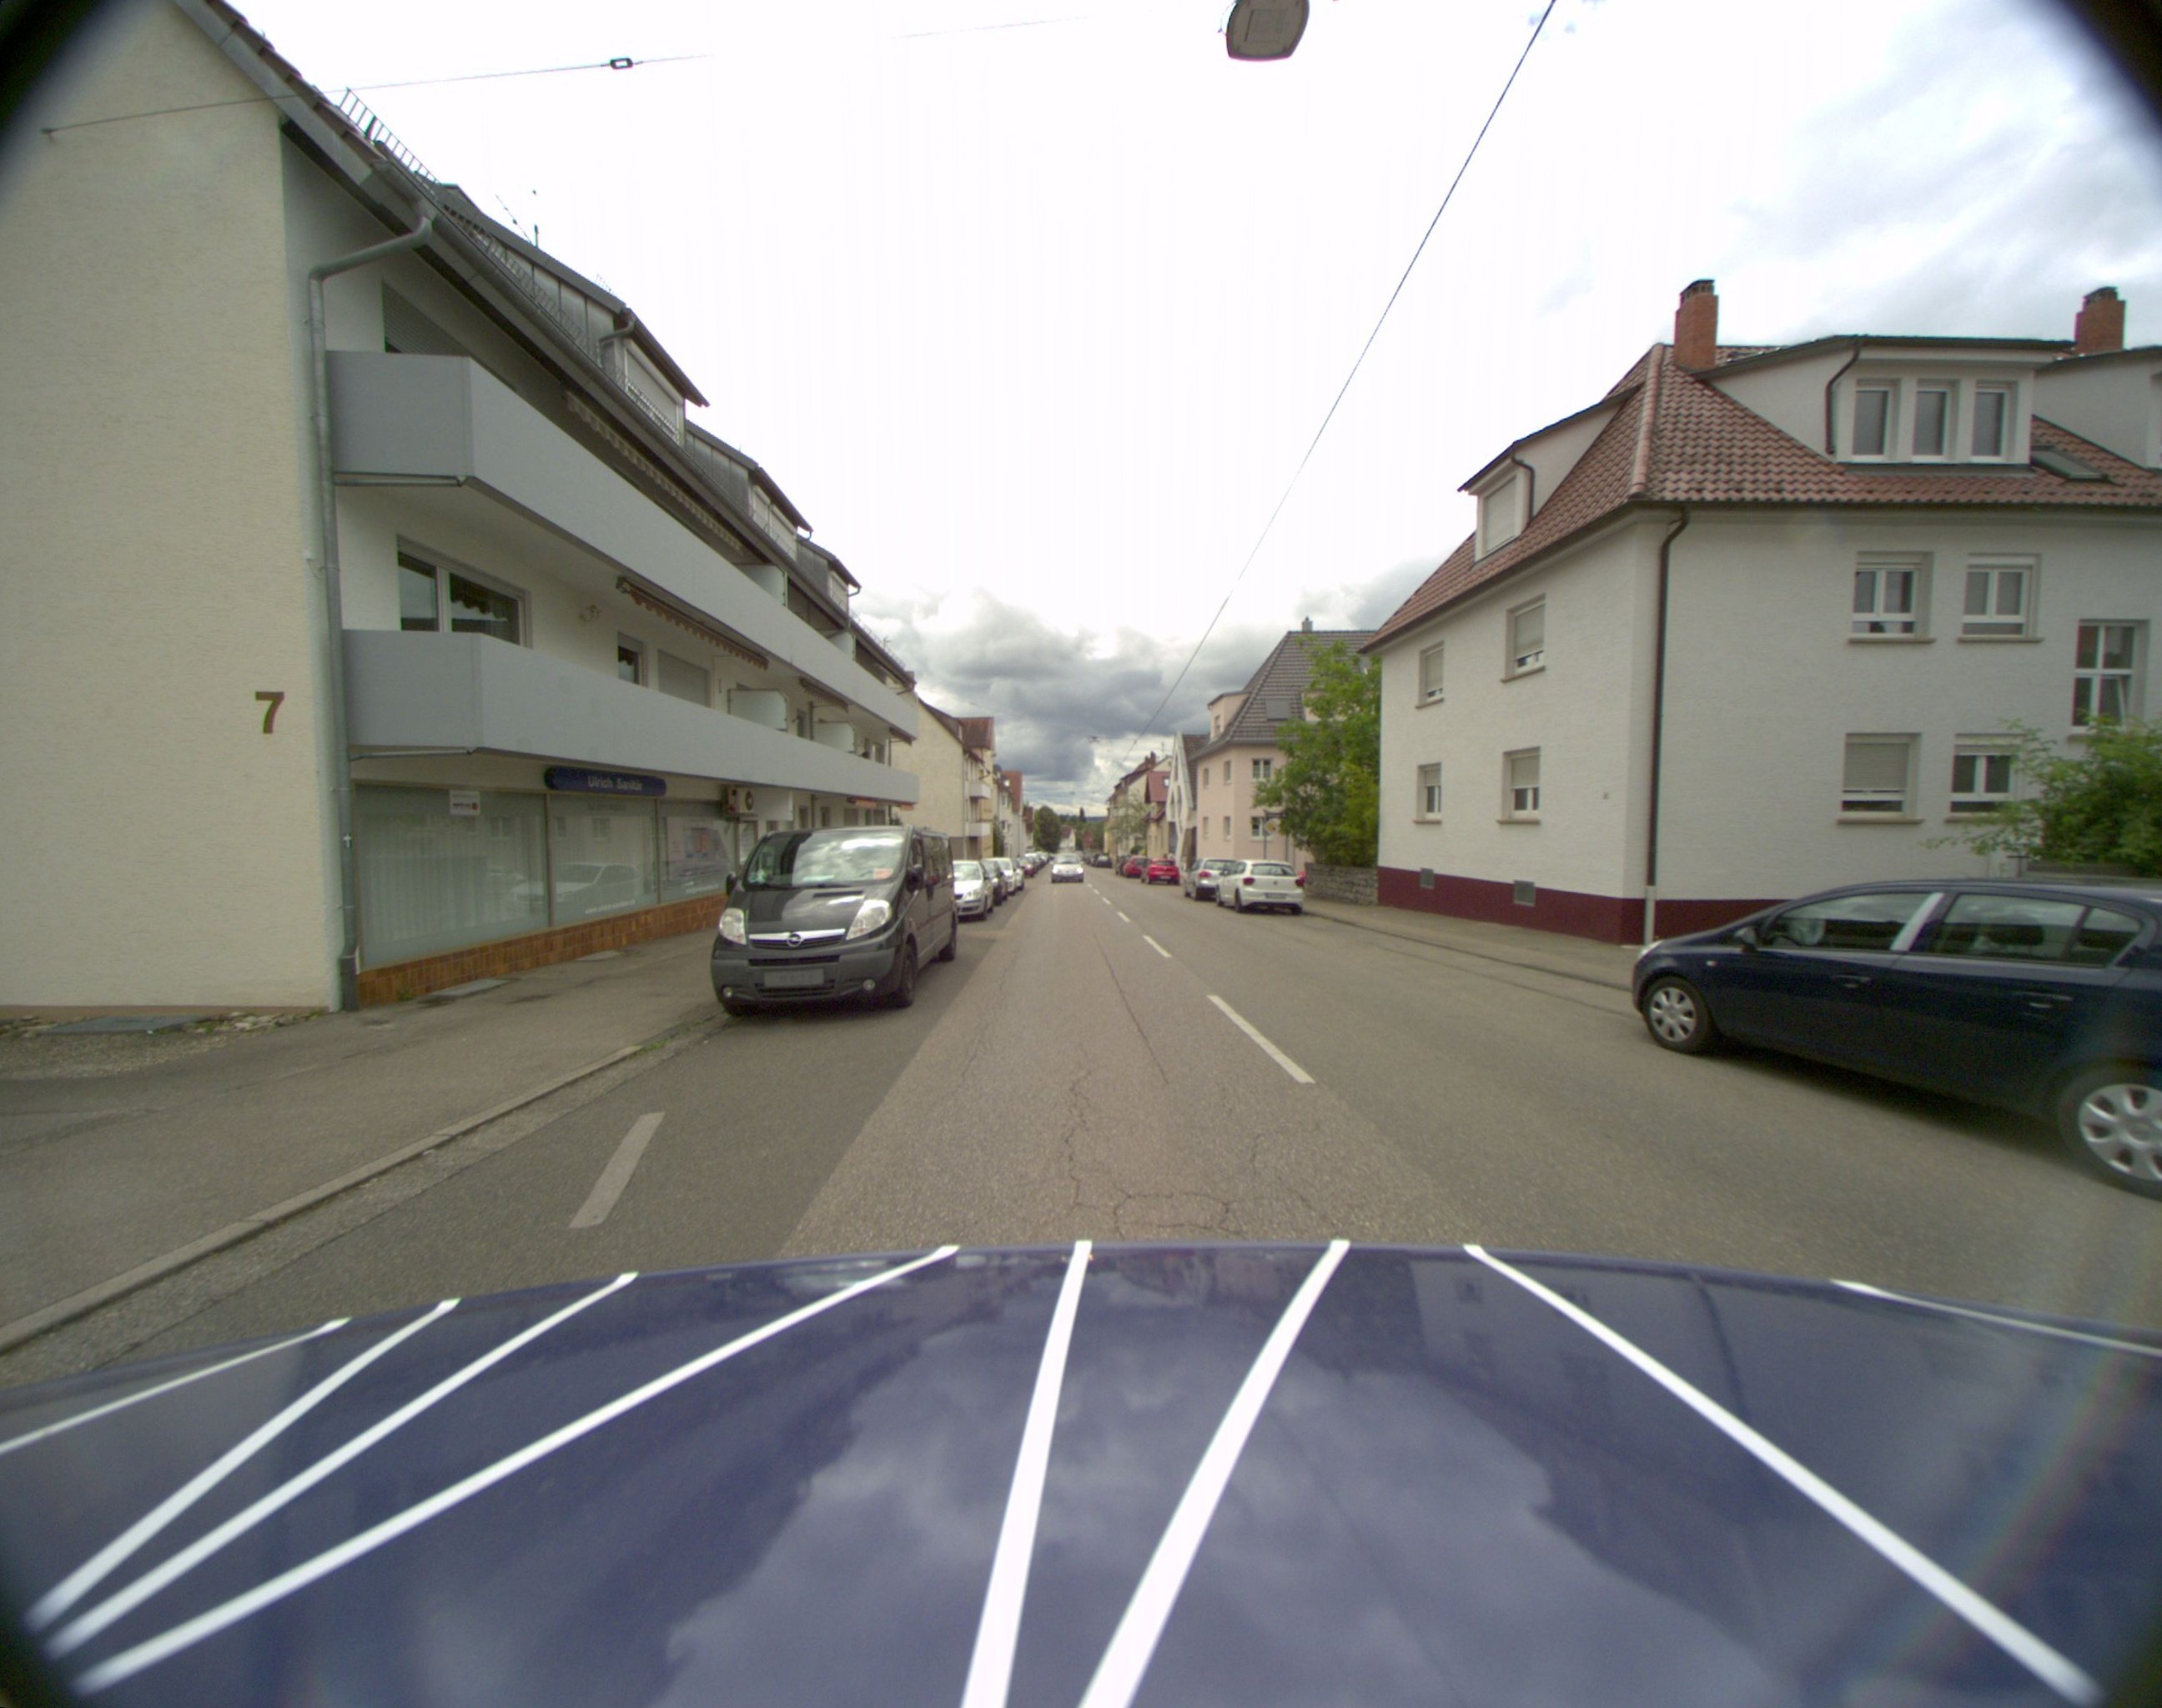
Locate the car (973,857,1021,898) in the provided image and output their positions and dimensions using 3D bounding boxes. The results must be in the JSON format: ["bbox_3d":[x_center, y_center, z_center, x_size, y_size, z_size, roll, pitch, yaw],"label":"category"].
[{"bbox_3d":[-3.270,0.886,30.129,1.613,1.447,3.312,-2,1,-2],"label":"car"}]

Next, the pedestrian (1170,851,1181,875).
[{"bbox_3d":[6.188,0.589,50.027,0.583,1.524,0.600,-2,1,-1],"label":"pedestrian"}]

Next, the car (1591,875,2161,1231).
[{"bbox_3d":[5.573,0.944,4.766,1.843,1.437,3.998,2,0,-4],"label":"car"}]

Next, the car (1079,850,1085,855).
[{"bbox_3d":[0.279,-0.455,234.429,1.705,1.706,3.737,3,1,4],"label":"car"}]

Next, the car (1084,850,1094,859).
[{"bbox_3d":[1.431,0.042,137.244,1.706,1.524,3.734,2,1,-2],"label":"car"}]

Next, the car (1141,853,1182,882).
[{"bbox_3d":[4.420,0.722,42.160,1.706,1.402,3.734,2,1,-2],"label":"car"}]

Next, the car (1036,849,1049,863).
[{"bbox_3d":[-4.989,0.214,99.767,1.613,1.789,3.858,-2,1,-2],"label":"car"}]

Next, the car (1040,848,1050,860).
[{"bbox_3d":[-5.731,0.004,121.269,1.613,1.789,3.858,-2,1,-2],"label":"car"}]

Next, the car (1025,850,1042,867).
[{"bbox_3d":[-4.831,0.475,77.394,1.613,1.633,3.858,-2,1,-2],"label":"car"}]

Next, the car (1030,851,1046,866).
[{"bbox_3d":[-4.888,0.464,86.960,1.613,1.633,3.858,-2,1,-2],"label":"car"}]

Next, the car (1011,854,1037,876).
[{"bbox_3d":[-3.985,0.752,53.753,1.613,1.447,3.858,-2,1,-2],"label":"car"}]

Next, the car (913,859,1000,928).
[{"bbox_3d":[-3.066,0.922,19.494,1.613,1.447,4.333,-2,1,-2],"label":"car"}]

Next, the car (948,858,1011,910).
[{"bbox_3d":[-3.215,0.911,24.690,1.613,1.447,3.858,-2,1,-2],"label":"car"}]

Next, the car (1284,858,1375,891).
[{"bbox_3d":[11.579,0.944,35.595,3.732,1.402,1.707,-1,1,3],"label":"car"}]

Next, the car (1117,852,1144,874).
[{"bbox_3d":[3.790,0.678,58.514,1.706,1.524,3.734,2,1,-2],"label":"car"}]

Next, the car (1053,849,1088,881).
[{"bbox_3d":[-0.549,0.554,41.873,1.721,1.587,4.000,-2,1,1],"label":"car"}]

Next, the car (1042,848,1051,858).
[{"bbox_3d":[-6.526,-0.223,144.568,1.613,1.789,3.858,-2,1,-2],"label":"car"}]

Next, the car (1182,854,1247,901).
[{"bbox_3d":[4.565,0.767,26.435,1.653,1.438,3.774,1,1,1],"label":"car"}]

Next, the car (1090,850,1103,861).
[{"bbox_3d":[2.308,0.256,116.215,1.706,1.524,3.734,2,1,-2],"label":"car"}]

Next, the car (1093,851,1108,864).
[{"bbox_3d":[2.470,0.451,96.376,1.706,1.524,3.734,2,1,-2],"label":"car"}]

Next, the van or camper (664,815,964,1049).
[{"bbox_3d":[-2.782,0.686,9.368,1.999,2.002,5.062,-3,1,-2],"label":"van or camper"}]

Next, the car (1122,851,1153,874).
[{"bbox_3d":[3.945,0.573,53.534,1.706,1.524,3.734,2,1,-2],"label":"car"}]

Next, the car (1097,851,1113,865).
[{"bbox_3d":[2.837,0.509,90.688,1.706,1.524,3.734,2,1,-2],"label":"car"}]

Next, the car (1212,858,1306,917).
[{"bbox_3d":[4.917,0.881,21.453,1.654,1.438,3.810,1,1,-1],"label":"car"}]

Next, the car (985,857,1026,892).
[{"bbox_3d":[-3.358,0.873,34.378,1.585,1.397,3.597,-2,1,-2],"label":"car"}]
